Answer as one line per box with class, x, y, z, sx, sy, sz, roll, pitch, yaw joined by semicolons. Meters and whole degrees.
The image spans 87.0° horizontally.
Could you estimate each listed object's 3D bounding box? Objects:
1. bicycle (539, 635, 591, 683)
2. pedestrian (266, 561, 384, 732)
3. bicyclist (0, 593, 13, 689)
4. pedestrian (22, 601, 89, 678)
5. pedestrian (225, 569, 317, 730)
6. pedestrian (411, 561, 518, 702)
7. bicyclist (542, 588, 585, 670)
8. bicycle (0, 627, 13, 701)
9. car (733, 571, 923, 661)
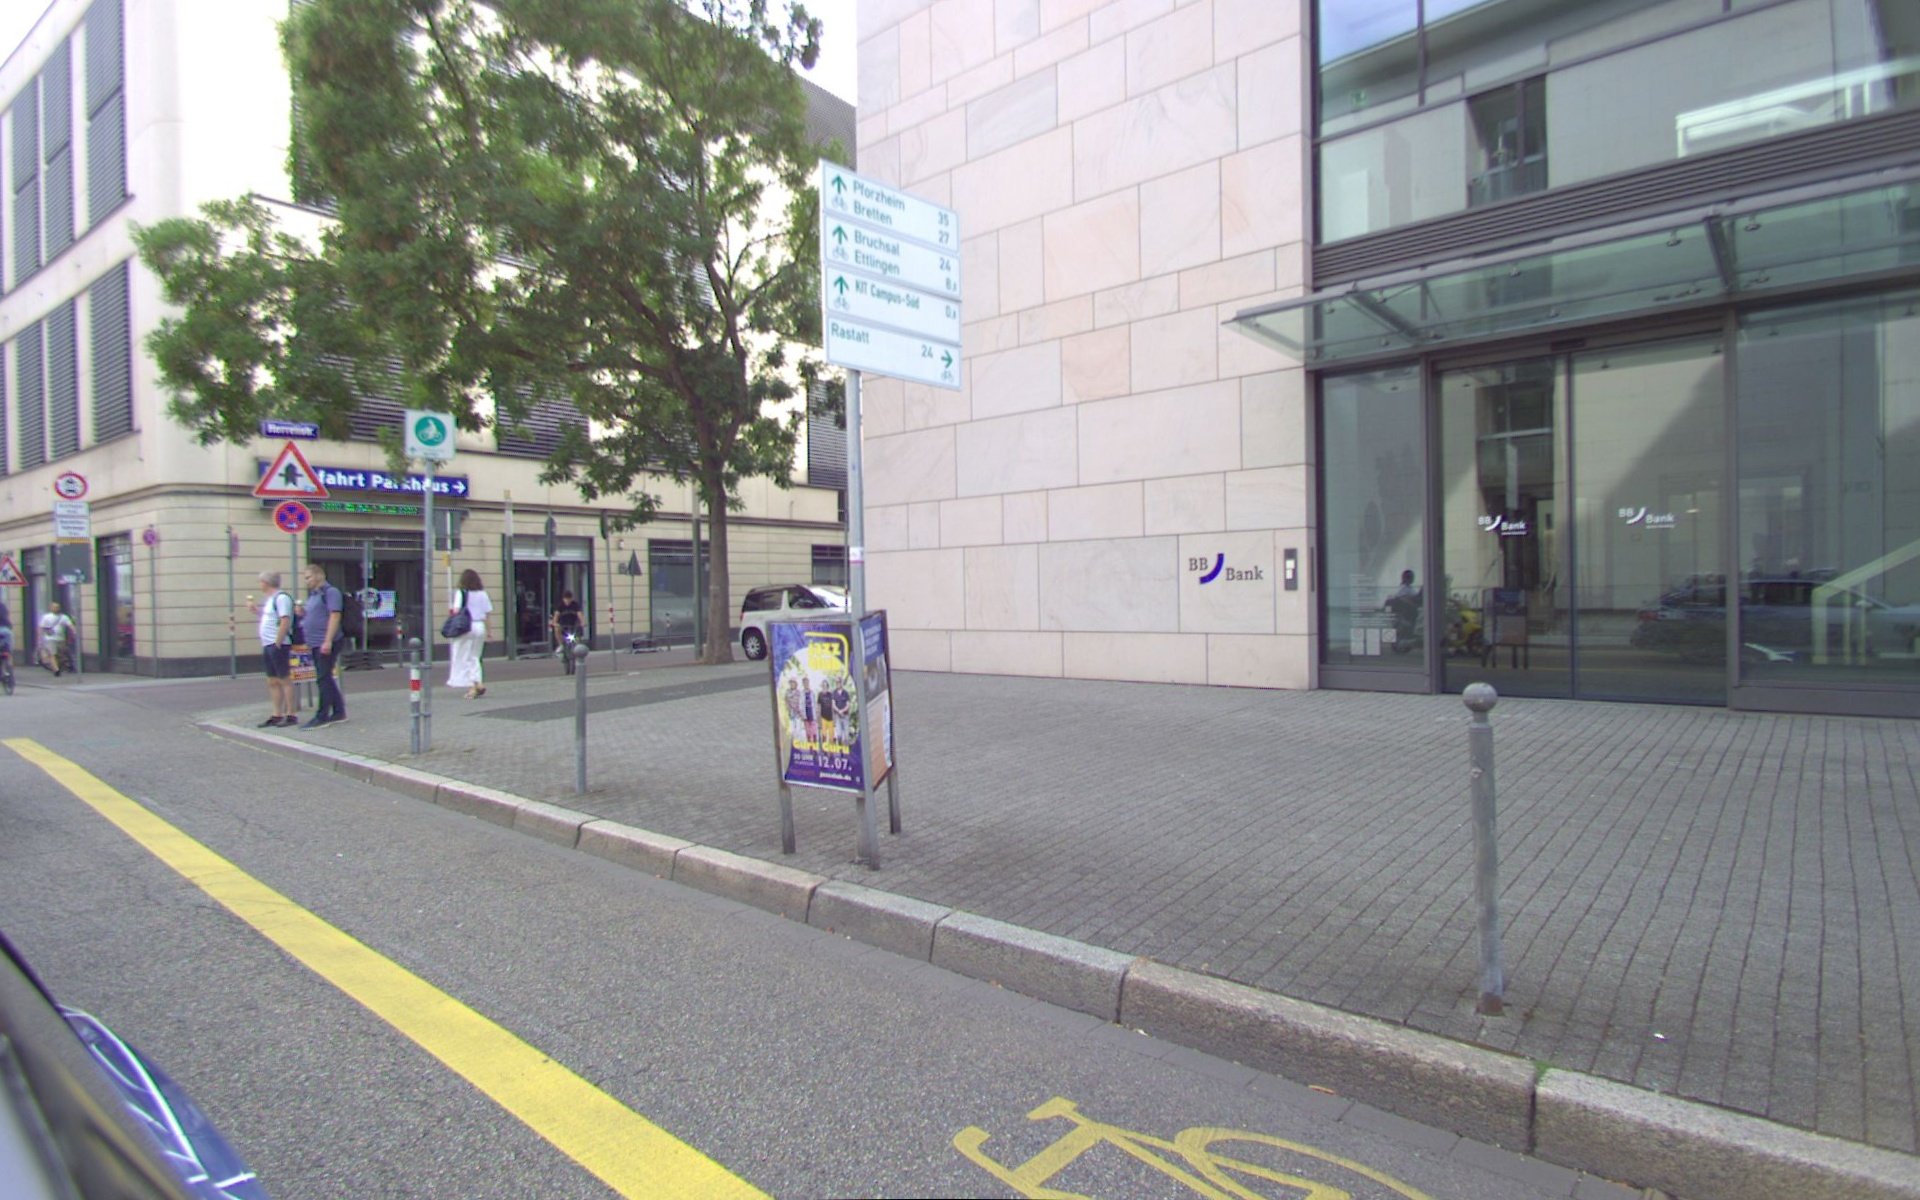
bicycle;-8.122;1.188;20.852;0.592;0.840;1.728;-5;1;-9
pedestrian;-7.176;0.498;11.452;0.753;1.827;0.738;-1;3;29
bicyclist;-17.037;0.708;17.699;0.635;1.666;0.940;3;-3;-43
pedestrian;-22.213;0.950;24.849;1.058;1.778;0.883;-1;3;35
pedestrian;-7.919;0.549;11.644;0.651;1.778;0.637;-1;0;29
pedestrian;-6.513;0.388;13.311;0.909;1.721;0.868;-1;4;40
bicyclist;-8.165;0.582;20.873;0.613;1.631;0.645;-3;1;-9
bicycle;-17.040;1.094;17.695;0.639;1.250;1.955;3;-2;-43
car;-2.984;0.390;22.549;3.957;1.706;1.876;-5;-3;37
